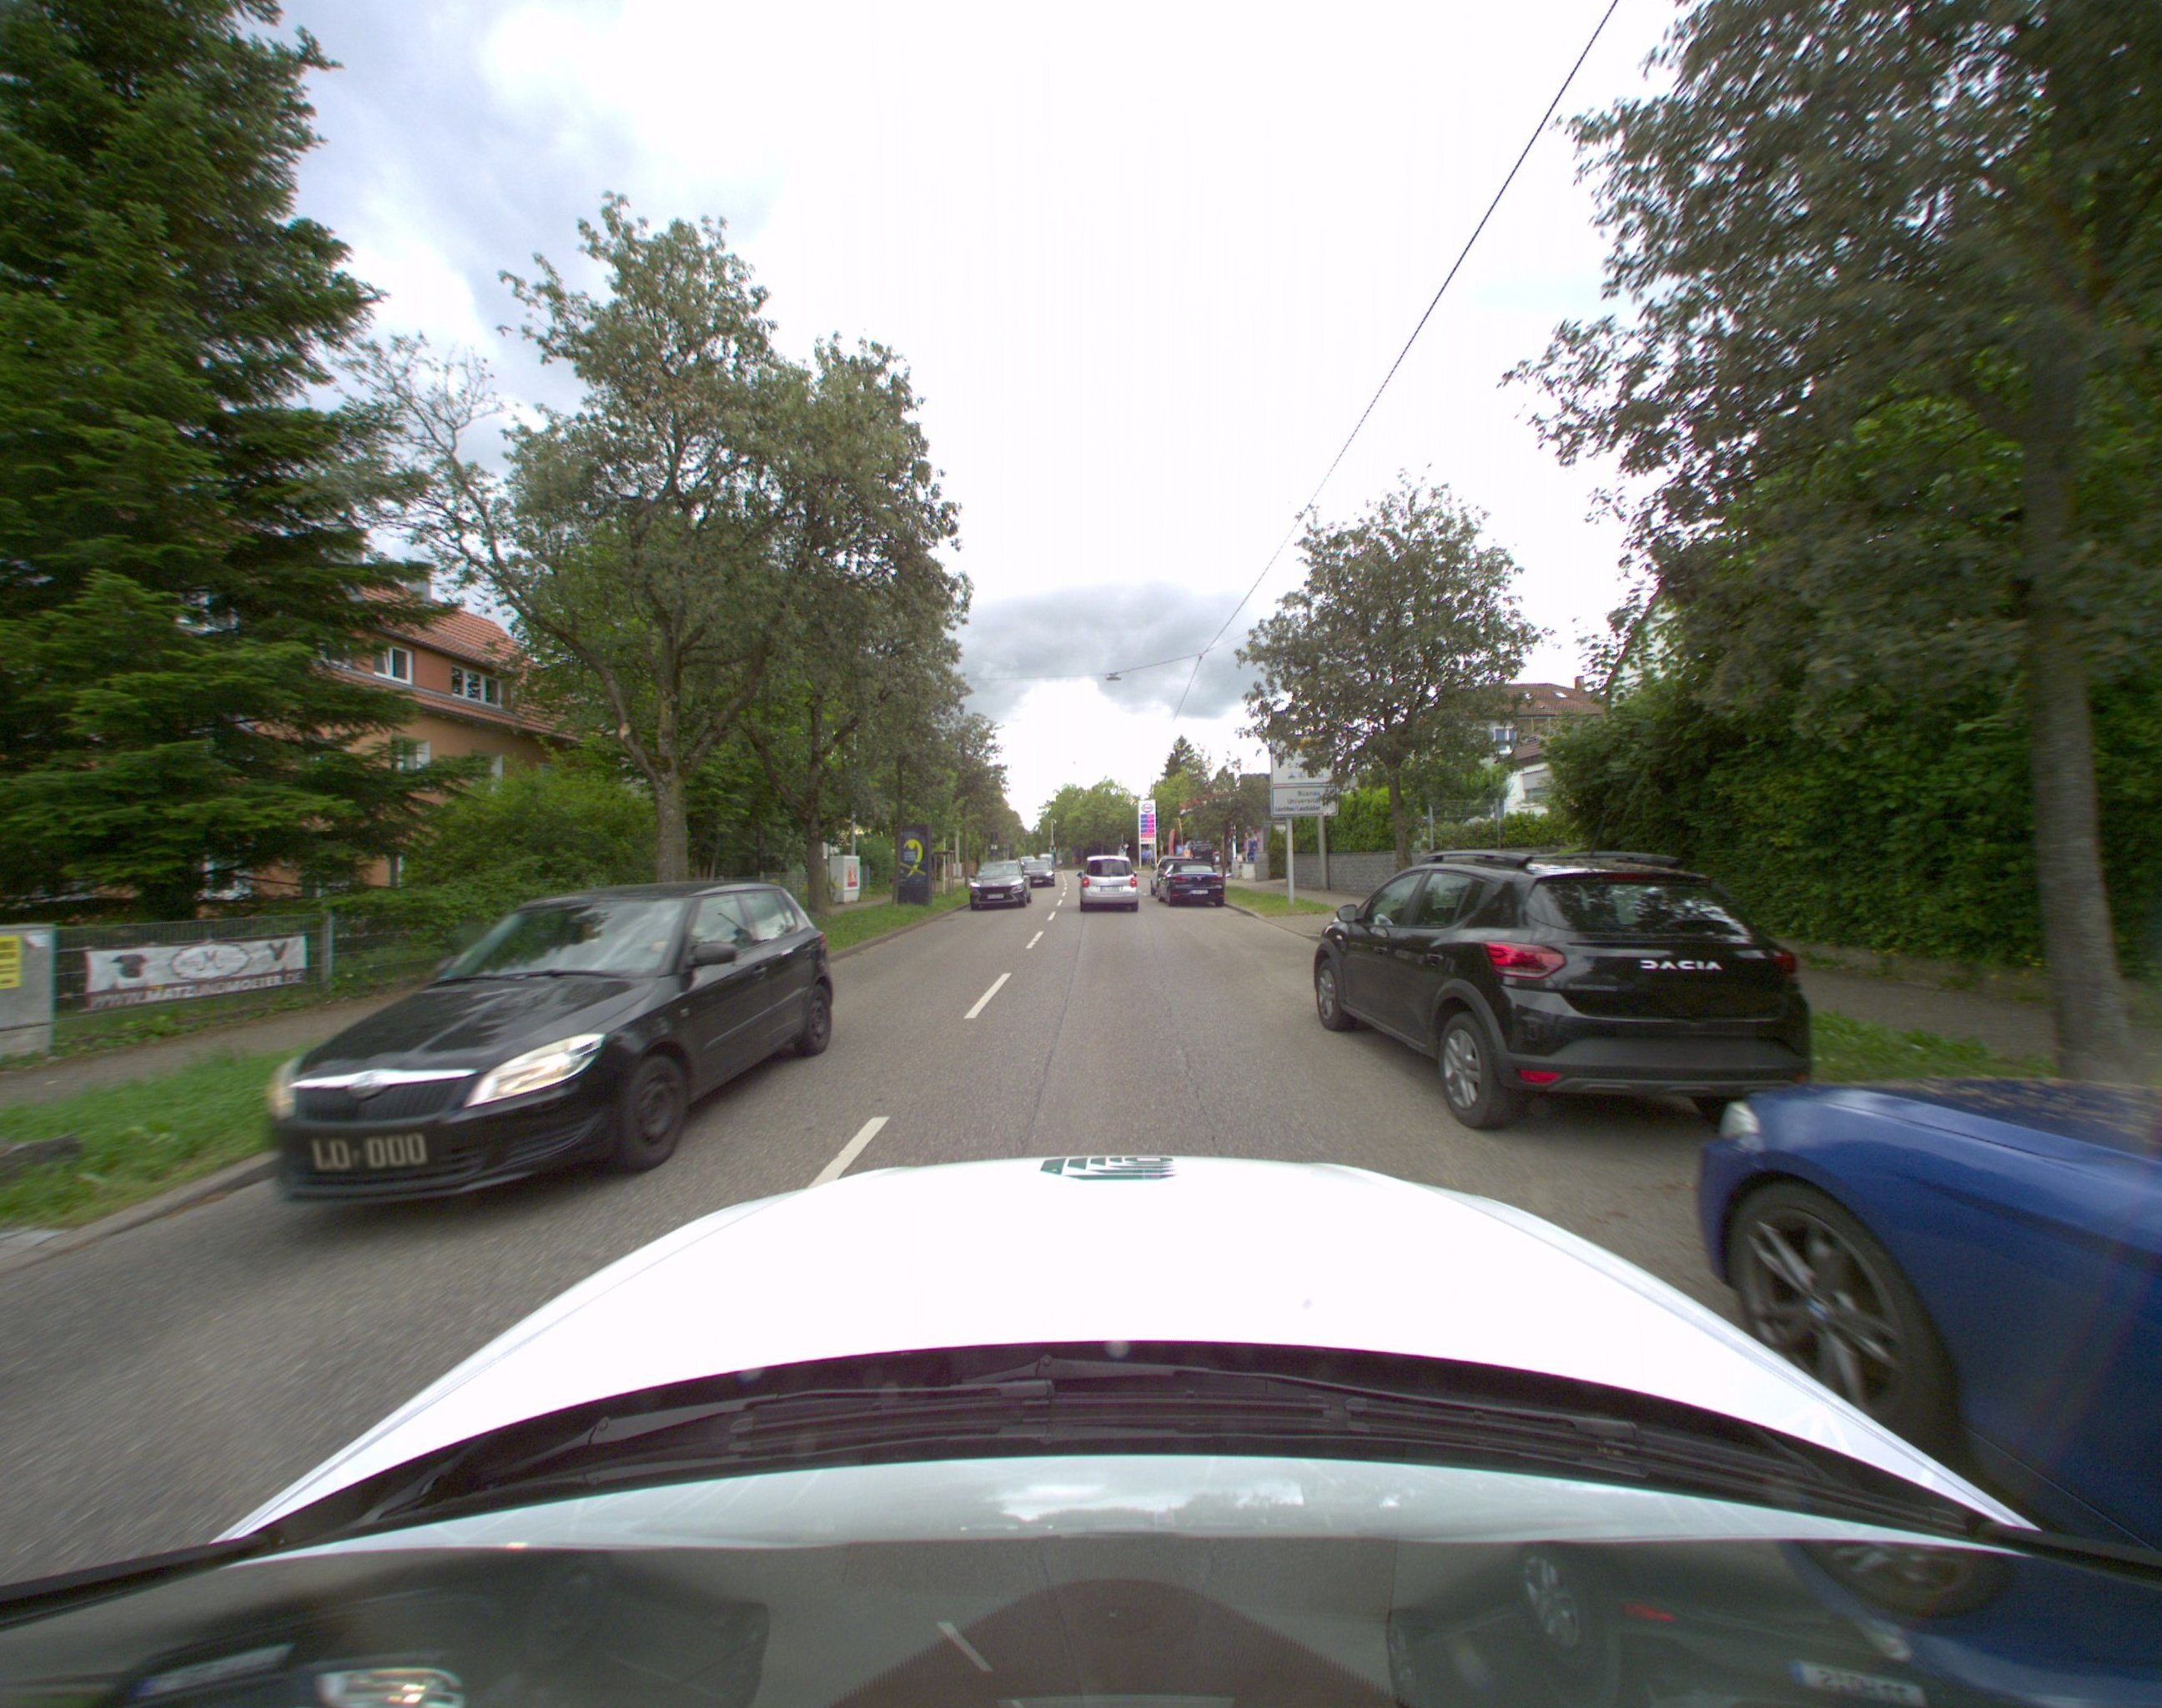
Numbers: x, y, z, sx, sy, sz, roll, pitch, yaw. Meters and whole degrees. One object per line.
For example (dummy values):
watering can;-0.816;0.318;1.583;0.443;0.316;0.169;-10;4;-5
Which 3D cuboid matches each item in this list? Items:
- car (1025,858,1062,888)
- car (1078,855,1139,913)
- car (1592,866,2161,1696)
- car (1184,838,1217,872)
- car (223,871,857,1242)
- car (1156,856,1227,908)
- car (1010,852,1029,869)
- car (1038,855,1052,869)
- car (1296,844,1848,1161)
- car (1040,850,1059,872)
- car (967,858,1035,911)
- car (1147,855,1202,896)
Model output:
car;-2.040;1.013;44.878;1.689;1.506;3.646;-1;0;2
car;0.782;0.827;24.112;1.673;1.560;3.512;0;0;1
car;2.729;0.760;0.922;1.690;1.433;4.341;0;0;2
car;10.464;0.106;71.561;2.273;2.911;5.281;0;0;2
car;-2.917;0.938;5.470;1.538;1.470;3.744;-4;0;3
car;3.519;0.851;26.496;1.690;1.506;3.971;-1;0;-1
car;-7.543;0.836;100.259;1.928;2.013;3.999;-1;0;0
car;-5.421;1.162;124.126;1.734;2.013;4.002;-1;0;2
car;2.980;0.754;6.036;1.690;1.570;3.954;1;0;-1
car;-3.532;0.791;92.141;1.928;2.408;3.999;-1;0;0
car;-2.615;0.965;27.457;1.787;1.555;3.672;-4;0;0
car;3.605;0.807;32.068;1.690;1.506;3.643;-1;0;-1
